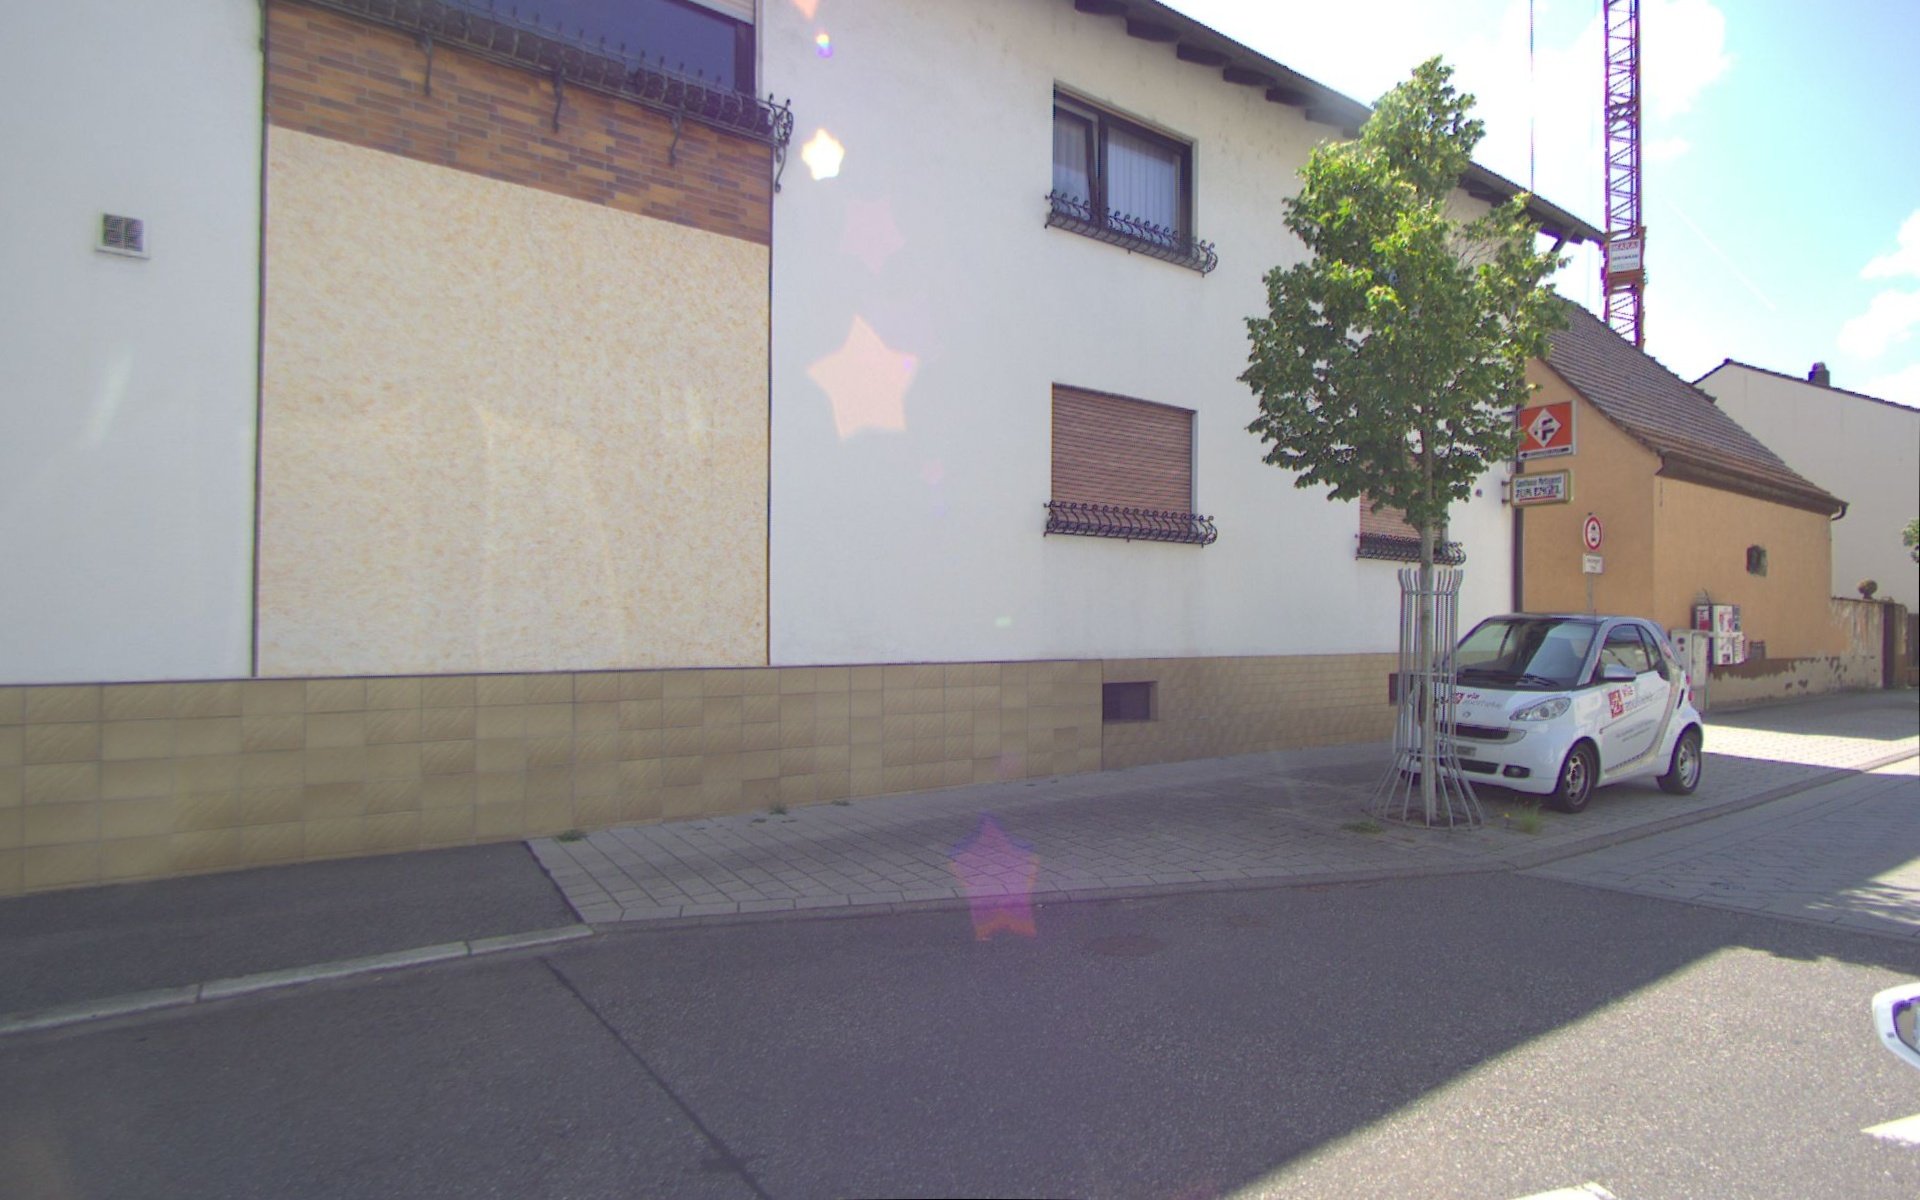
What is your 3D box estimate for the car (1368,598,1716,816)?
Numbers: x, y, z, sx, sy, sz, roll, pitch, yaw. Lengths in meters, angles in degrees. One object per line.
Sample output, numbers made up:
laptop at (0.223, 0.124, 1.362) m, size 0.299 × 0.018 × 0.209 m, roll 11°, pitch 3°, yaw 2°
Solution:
car at (5.168, 0.818, 8.890) m, size 2.792 × 1.582 × 1.563 m, roll 1°, pitch 1°, yaw -34°
